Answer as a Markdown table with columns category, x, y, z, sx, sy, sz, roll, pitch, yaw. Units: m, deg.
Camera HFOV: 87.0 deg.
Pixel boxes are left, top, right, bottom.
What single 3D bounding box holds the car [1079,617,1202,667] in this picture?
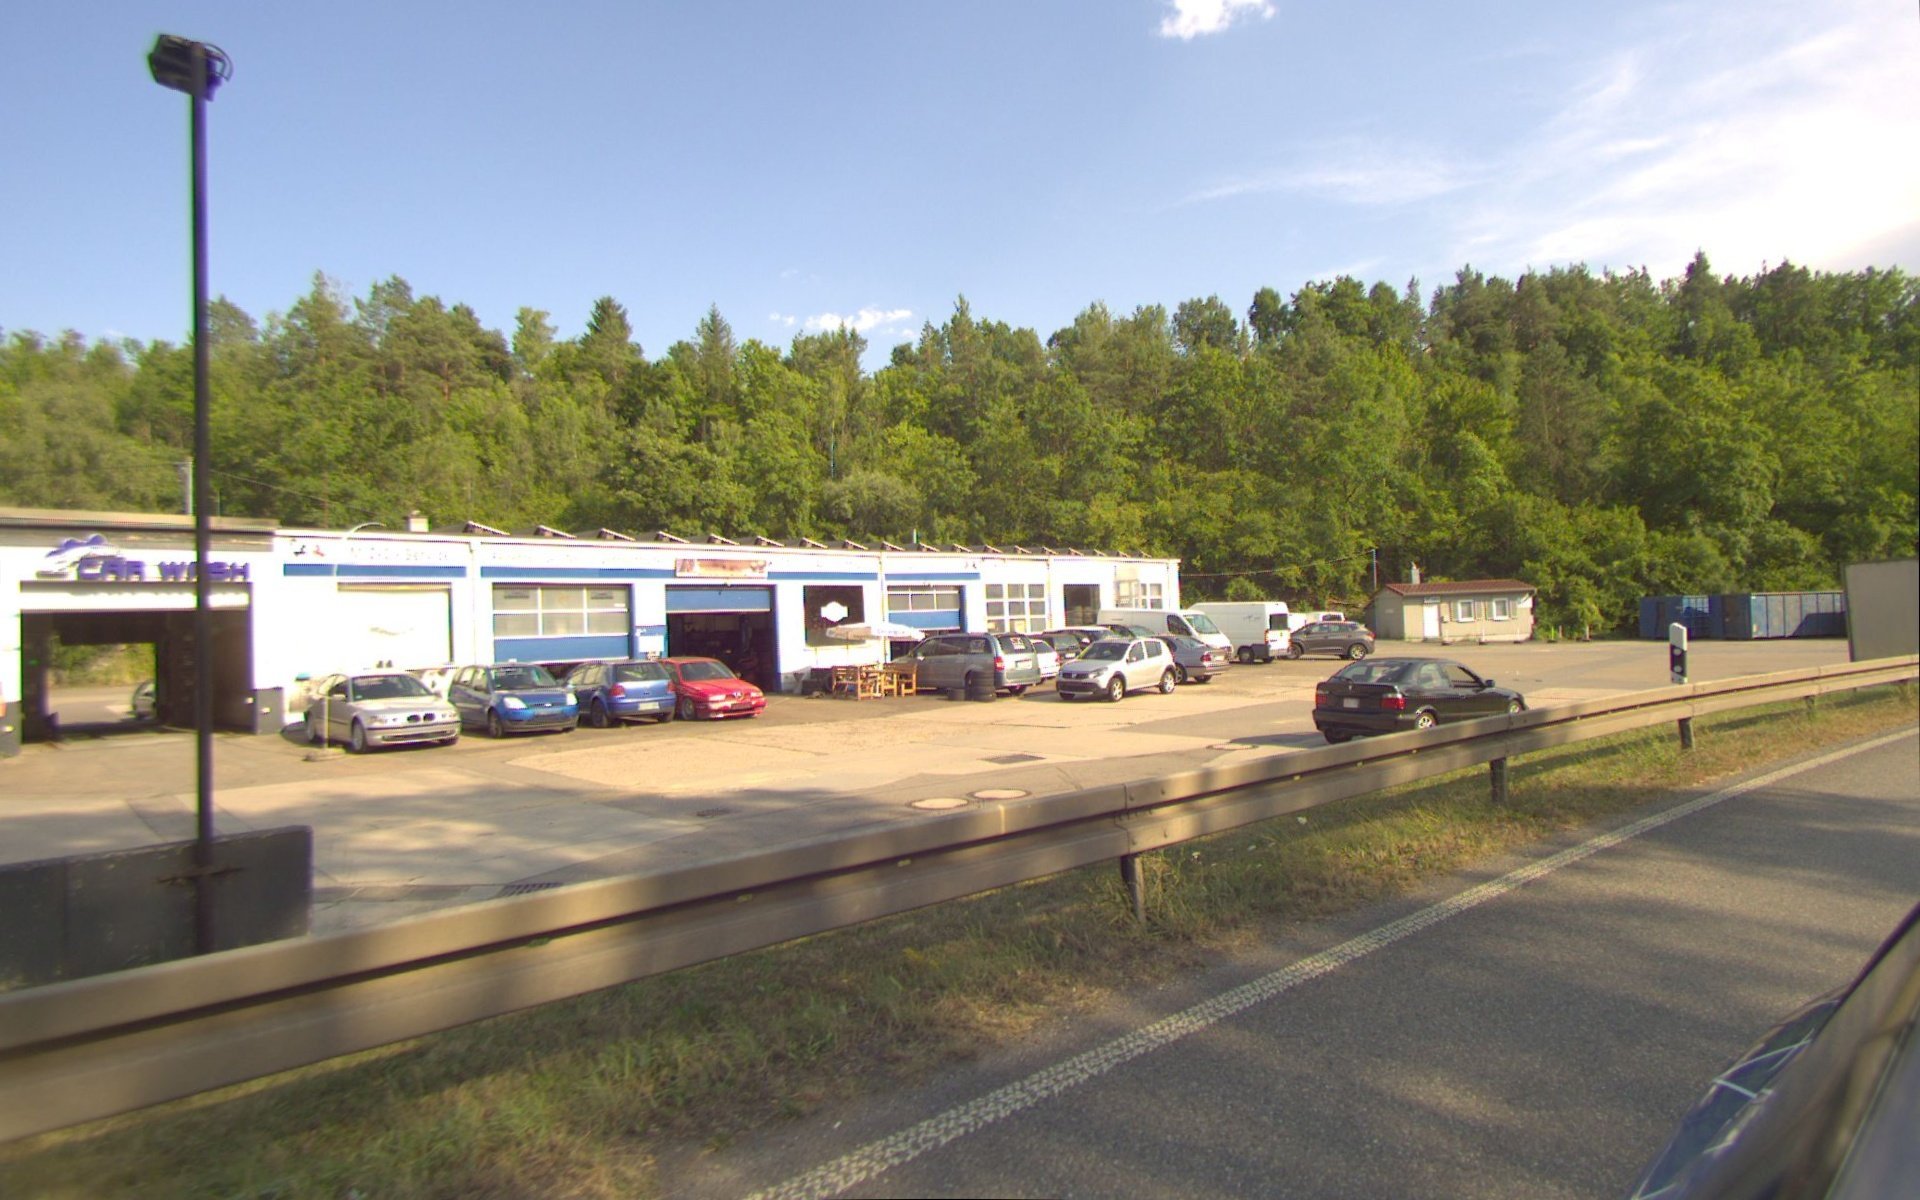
| category | x | y | z | sx | sy | sz | roll | pitch | yaw |
| --- | --- | --- | --- | --- | --- | --- | --- | --- | --- |
| car | 6.621 | 1.500 | 37.375 | 1.893 | 1.631 | 4.162 | 0 | 0 | -44 |

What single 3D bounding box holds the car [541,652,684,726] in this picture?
| category | x | y | z | sx | sy | sz | roll | pitch | yaw |
| --- | --- | --- | --- | --- | --- | --- | --- | --- | --- |
| car | -7.857 | 1.933 | 22.747 | 1.705 | 1.464 | 3.545 | 0 | -2 | -44 |

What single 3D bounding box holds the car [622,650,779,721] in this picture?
| category | x | y | z | sx | sy | sz | roll | pitch | yaw |
| --- | --- | --- | --- | --- | --- | --- | --- | --- | --- |
| car | -6.242 | 1.962 | 24.078 | 1.863 | 1.365 | 4.069 | 0 | -1 | -44 |

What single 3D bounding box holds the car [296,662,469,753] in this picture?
| category | x | y | z | sx | sy | sz | roll | pitch | yaw |
| --- | --- | --- | --- | --- | --- | --- | --- | --- | --- |
| car | -11.120 | 1.966 | 19.381 | 3.953 | 1.372 | 1.750 | -1 | -1 | 42 |

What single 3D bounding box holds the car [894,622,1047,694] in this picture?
| category | x | y | z | sx | sy | sz | roll | pitch | yaw |
| --- | --- | --- | --- | --- | --- | --- | --- | --- | --- |
| car | 0.241 | 1.570 | 28.663 | 4.246 | 1.750 | 1.862 | 0 | 0 | 44 |

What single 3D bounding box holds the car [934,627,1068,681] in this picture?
| category | x | y | z | sx | sy | sz | roll | pitch | yaw |
| --- | --- | --- | --- | --- | --- | --- | --- | --- | --- |
| car | 1.254 | 1.667 | 32.195 | 4.146 | 1.480 | 1.841 | 0 | 0 | 45 |

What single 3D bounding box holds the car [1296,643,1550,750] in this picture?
| category | x | y | z | sx | sy | sz | roll | pitch | yaw |
| --- | --- | --- | --- | --- | --- | --- | --- | --- | --- |
| car | 7.532 | 1.457 | 16.335 | 4.191 | 1.370 | 1.829 | 0 | -1 | -35 |

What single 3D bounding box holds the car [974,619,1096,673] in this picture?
| category | x | y | z | sx | sy | sz | roll | pitch | yaw |
| --- | --- | --- | --- | --- | --- | --- | --- | --- | --- |
| car | 2.514 | 1.531 | 34.569 | 1.864 | 1.631 | 3.990 | 0 | 0 | -44 |

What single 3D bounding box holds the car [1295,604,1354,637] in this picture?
| category | x | y | z | sx | sy | sz | roll | pitch | yaw |
| --- | --- | --- | --- | --- | --- | --- | --- | --- | --- |
| car | 23.802 | 1.346 | 66.212 | 1.961 | 2.040 | 4.560 | -2 | -1 | -2 |

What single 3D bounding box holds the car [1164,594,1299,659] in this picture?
| category | x | y | z | sx | sy | sz | roll | pitch | yaw |
| --- | --- | --- | --- | --- | --- | --- | --- | --- | --- |
| car | 11.044 | 1.040 | 41.450 | 4.907 | 2.480 | 2.173 | -1 | -1 | 44 |

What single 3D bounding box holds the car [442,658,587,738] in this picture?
| category | x | y | z | sx | sy | sz | roll | pitch | yaw |
| --- | --- | --- | --- | --- | --- | --- | --- | --- | --- |
| car | -9.365 | 1.966 | 21.146 | 1.663 | 1.424 | 3.551 | 0 | -2 | -44 |

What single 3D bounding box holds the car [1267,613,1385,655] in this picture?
| category | x | y | z | sx | sy | sz | roll | pitch | yaw |
| --- | --- | --- | --- | --- | --- | --- | --- | --- | --- |
| car | 15.522 | 1.431 | 43.113 | 4.327 | 1.691 | 1.939 | 0 | -1 | 6 |

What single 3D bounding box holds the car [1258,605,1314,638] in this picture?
| category | x | y | z | sx | sy | sz | roll | pitch | yaw |
| --- | --- | --- | --- | --- | --- | --- | --- | --- | --- |
| car | 21.265 | 1.382 | 66.133 | 1.960 | 2.040 | 4.101 | -1 | -1 | -5 |

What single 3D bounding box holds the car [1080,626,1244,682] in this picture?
| category | x | y | z | sx | sy | sz | roll | pitch | yaw |
| --- | --- | --- | --- | --- | --- | --- | --- | --- | --- |
| car | 6.207 | 1.615 | 31.493 | 4.720 | 1.452 | 1.926 | 0 | 0 | 44 |

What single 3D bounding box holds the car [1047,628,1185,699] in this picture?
| category | x | y | z | sx | sy | sz | roll | pitch | yaw |
| --- | --- | --- | --- | --- | --- | --- | --- | --- | --- |
| car | 4.210 | 1.604 | 26.855 | 1.788 | 1.617 | 3.929 | -1 | 0 | 41 |

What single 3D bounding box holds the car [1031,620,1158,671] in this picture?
| category | x | y | z | sx | sy | sz | roll | pitch | yaw |
| --- | --- | --- | --- | --- | --- | --- | --- | --- | --- |
| car | 4.711 | 1.563 | 35.859 | 1.864 | 1.631 | 4.242 | 0 | -1 | -44 |

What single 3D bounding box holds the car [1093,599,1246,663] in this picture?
| category | x | y | z | sx | sy | sz | roll | pitch | yaw |
| --- | --- | --- | --- | --- | --- | --- | --- | --- | --- |
| car | 8.029 | 1.143 | 39.176 | 2.257 | 2.303 | 5.477 | 0 | -1 | -44 |
